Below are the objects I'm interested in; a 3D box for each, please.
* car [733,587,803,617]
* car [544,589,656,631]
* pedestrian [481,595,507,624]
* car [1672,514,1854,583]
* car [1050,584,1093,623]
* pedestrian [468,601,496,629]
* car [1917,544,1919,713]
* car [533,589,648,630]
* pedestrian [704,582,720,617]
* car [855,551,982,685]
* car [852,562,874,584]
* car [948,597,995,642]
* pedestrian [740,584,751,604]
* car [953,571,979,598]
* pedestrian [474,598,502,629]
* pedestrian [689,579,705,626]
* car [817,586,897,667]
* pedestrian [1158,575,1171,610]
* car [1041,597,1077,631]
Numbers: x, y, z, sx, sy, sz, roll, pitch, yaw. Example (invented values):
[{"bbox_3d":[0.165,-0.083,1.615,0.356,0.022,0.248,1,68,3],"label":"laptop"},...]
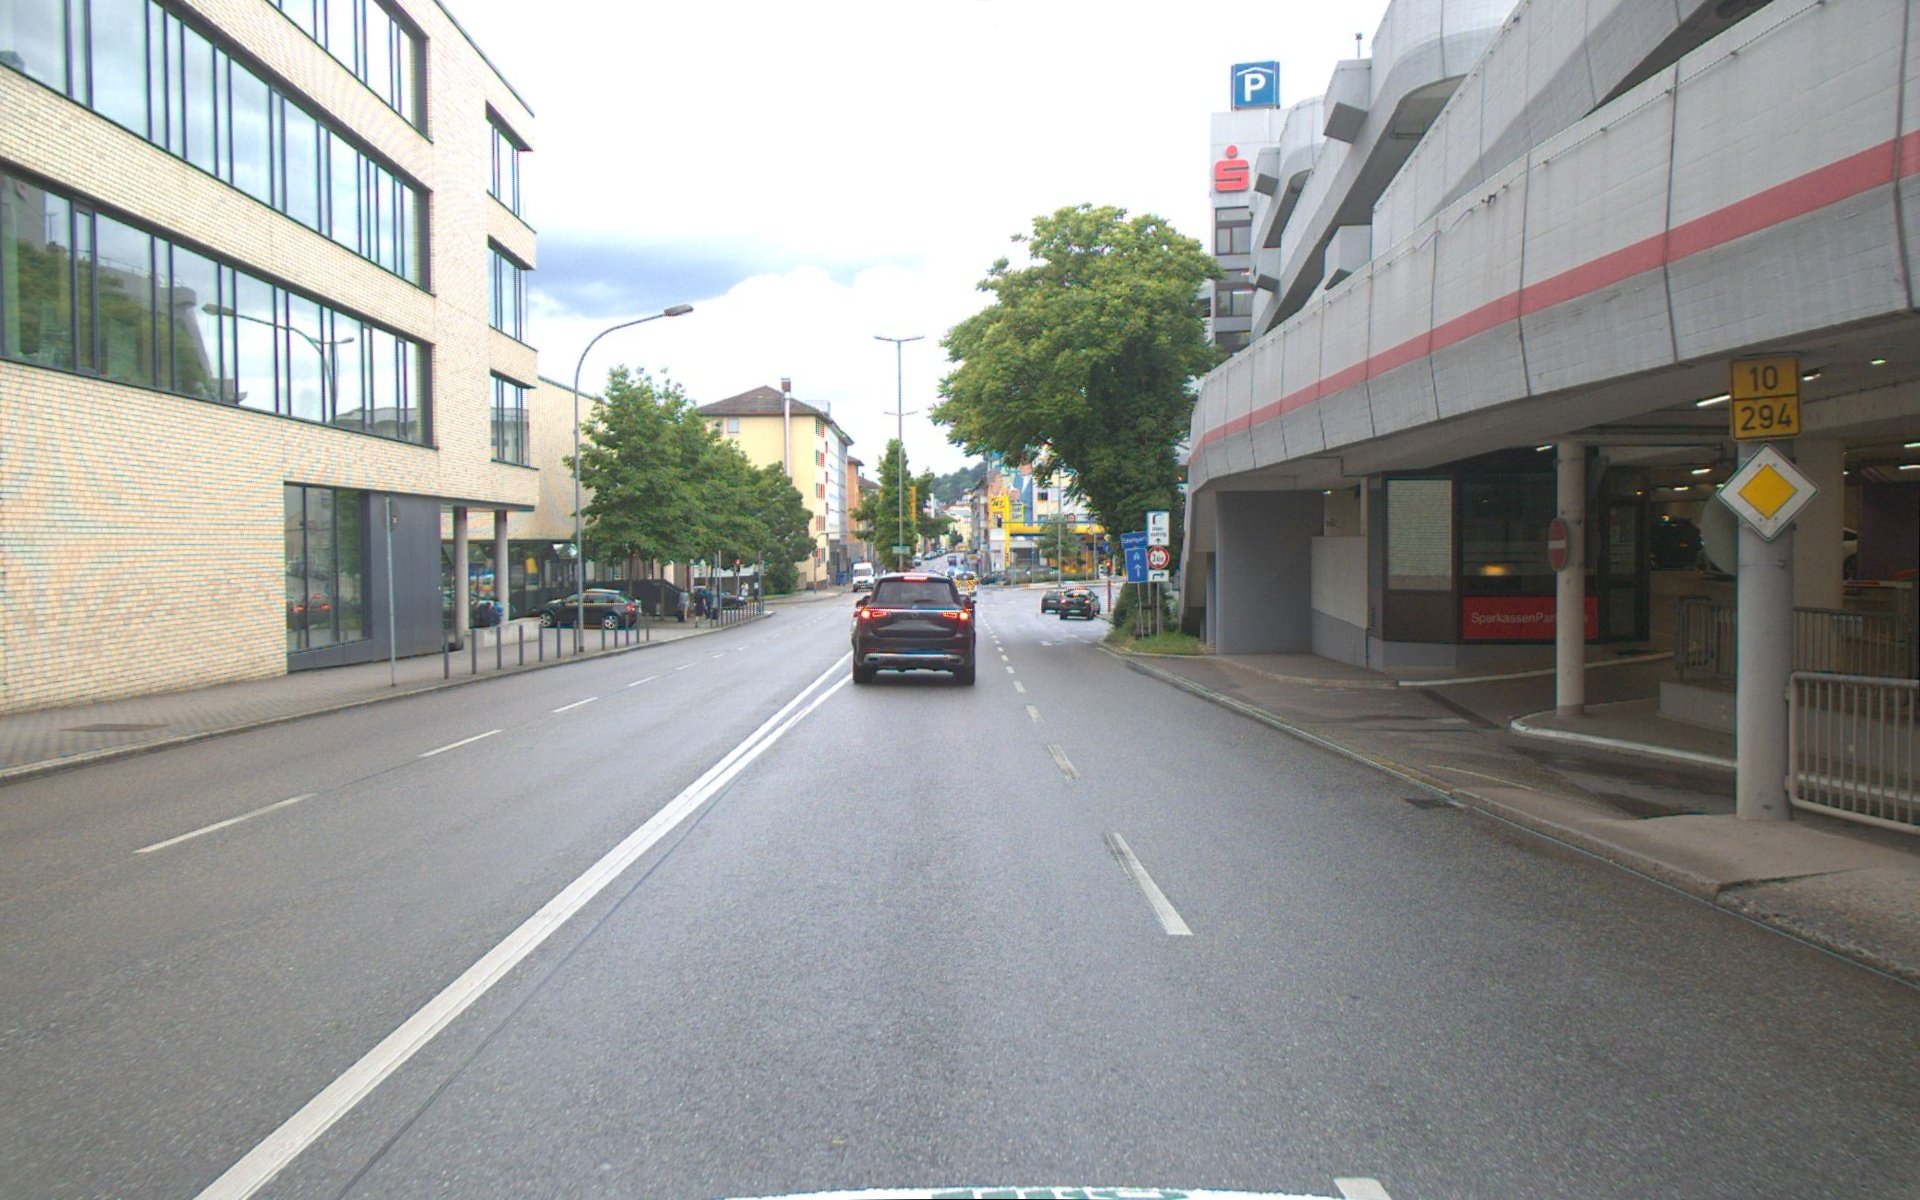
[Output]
[{"bbox_3d":[-13.232,0.118,114.048,4.714,2.049,1.997,0,1,-8],"label":"car"},{"bbox_3d":[-15.117,0.408,69.640,4.330,1.601,1.998,1,2,-5],"label":"car"},{"bbox_3d":[-13.906,0.275,49.353,0.574,0.859,0.727,0,-1,0],"label":"pedestrian"},{"bbox_3d":[21.192,-1.358,43.795,3.902,1.668,2.002,1,0,9],"label":"car"},{"bbox_3d":[6.002,0.170,89.451,1.953,2.049,3.999,1,1,-2],"label":"car"},{"bbox_3d":[-13.991,0.449,48.425,0.585,0.800,0.760,1,-1,0],"label":"pedestrian"},{"bbox_3d":[11.063,0.266,14.272,4.478,1.668,1.823,1,0,11],"label":"car"},{"bbox_3d":[-15.038,0.386,67.498,4.382,1.615,1.997,0,0,-7],"label":"car"},{"bbox_3d":[-12.760,-0.042,84.996,0.674,1.756,0.754,1,-3,-1],"label":"pedestrian"},{"bbox_3d":[-0.690,0.295,28.025,1.953,2.049,3.999,1,0,-1],"label":"car"},{"bbox_3d":[-9.173,-2.545,156.955,1.953,1.908,5.140,1,0,-2],"label":"car"},{"bbox_3d":[0.436,0.801,67.800,1.669,1.746,3.441,1,0,-3],"label":"car"},{"bbox_3d":[-15.578,-0.439,120.263,0.697,1.487,0.598,1,-1,-2],"label":"pedestrian"},{"bbox_3d":[0.449,-1.250,129.590,1.953,2.048,3.999,1,1,-1],"label":"car"},{"bbox_3d":[-14.088,0.395,49.356,0.667,0.901,0.524,1,-1,0],"label":"pedestrian"},{"bbox_3d":[-11.827,0.115,74.312,0.576,2.049,0.749,1,-1,-2],"label":"pedestrian"},{"bbox_3d":[-2.717,0.688,44.563,1.953,2.049,3.999,1,0,-1],"label":"car"},{"bbox_3d":[9.062,-0.326,73.220,0.539,1.559,0.488,1,-1,6],"label":"pedestrian"},{"bbox_3d":[6.064,0.852,101.430,1.953,2.049,4.000,1,0,0],"label":"car"}]
